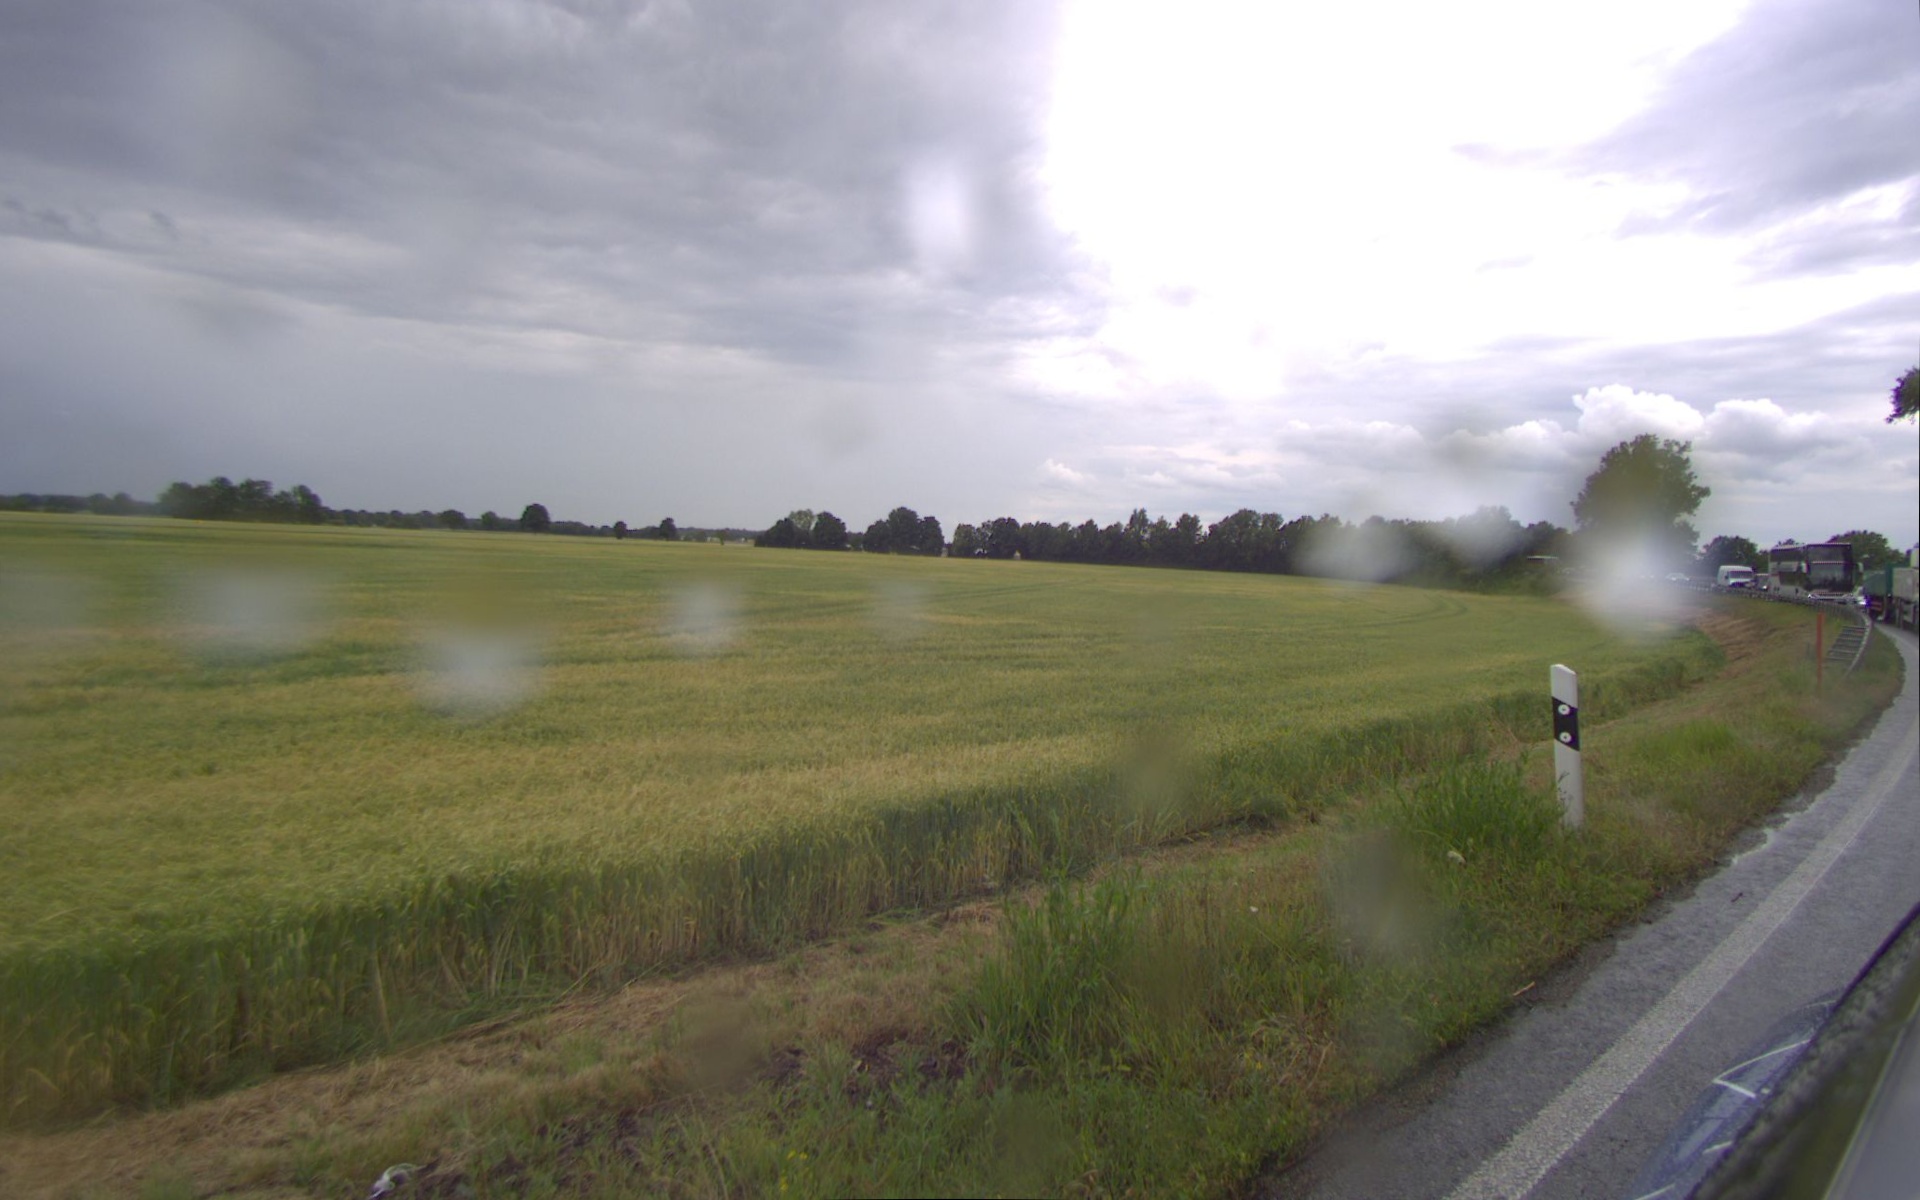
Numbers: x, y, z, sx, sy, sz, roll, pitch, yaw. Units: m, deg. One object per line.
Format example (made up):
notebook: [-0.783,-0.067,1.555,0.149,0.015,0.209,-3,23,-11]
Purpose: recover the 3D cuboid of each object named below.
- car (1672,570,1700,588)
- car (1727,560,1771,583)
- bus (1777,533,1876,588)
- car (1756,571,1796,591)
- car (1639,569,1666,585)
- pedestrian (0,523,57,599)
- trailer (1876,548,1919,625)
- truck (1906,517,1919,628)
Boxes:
car: [85.053,-2.485,118.617,1.980,2.038,4.195,0,2,26]
car: [72.583,-2.623,93.175,1.979,2.038,5.291,0,2,25]
bus: [58.902,-2.753,69.196,2.943,3.353,14.674,0,2,32]
car: [65.940,-1.544,81.802,1.799,1.597,3.960,0,2,29]
car: [91.120,-3.072,133.212,1.977,2.038,4.235,0,2,22]
pedestrian: [-27.002,-1.024,27.097,1.990,2.038,3.944,1,2,39]
trailer: [39.019,-0.670,40.190,2.971,2.665,15.465,1,2,39]
truck: [33.722,-0.942,33.567,2.971,3.655,5.996,0,2,39]
